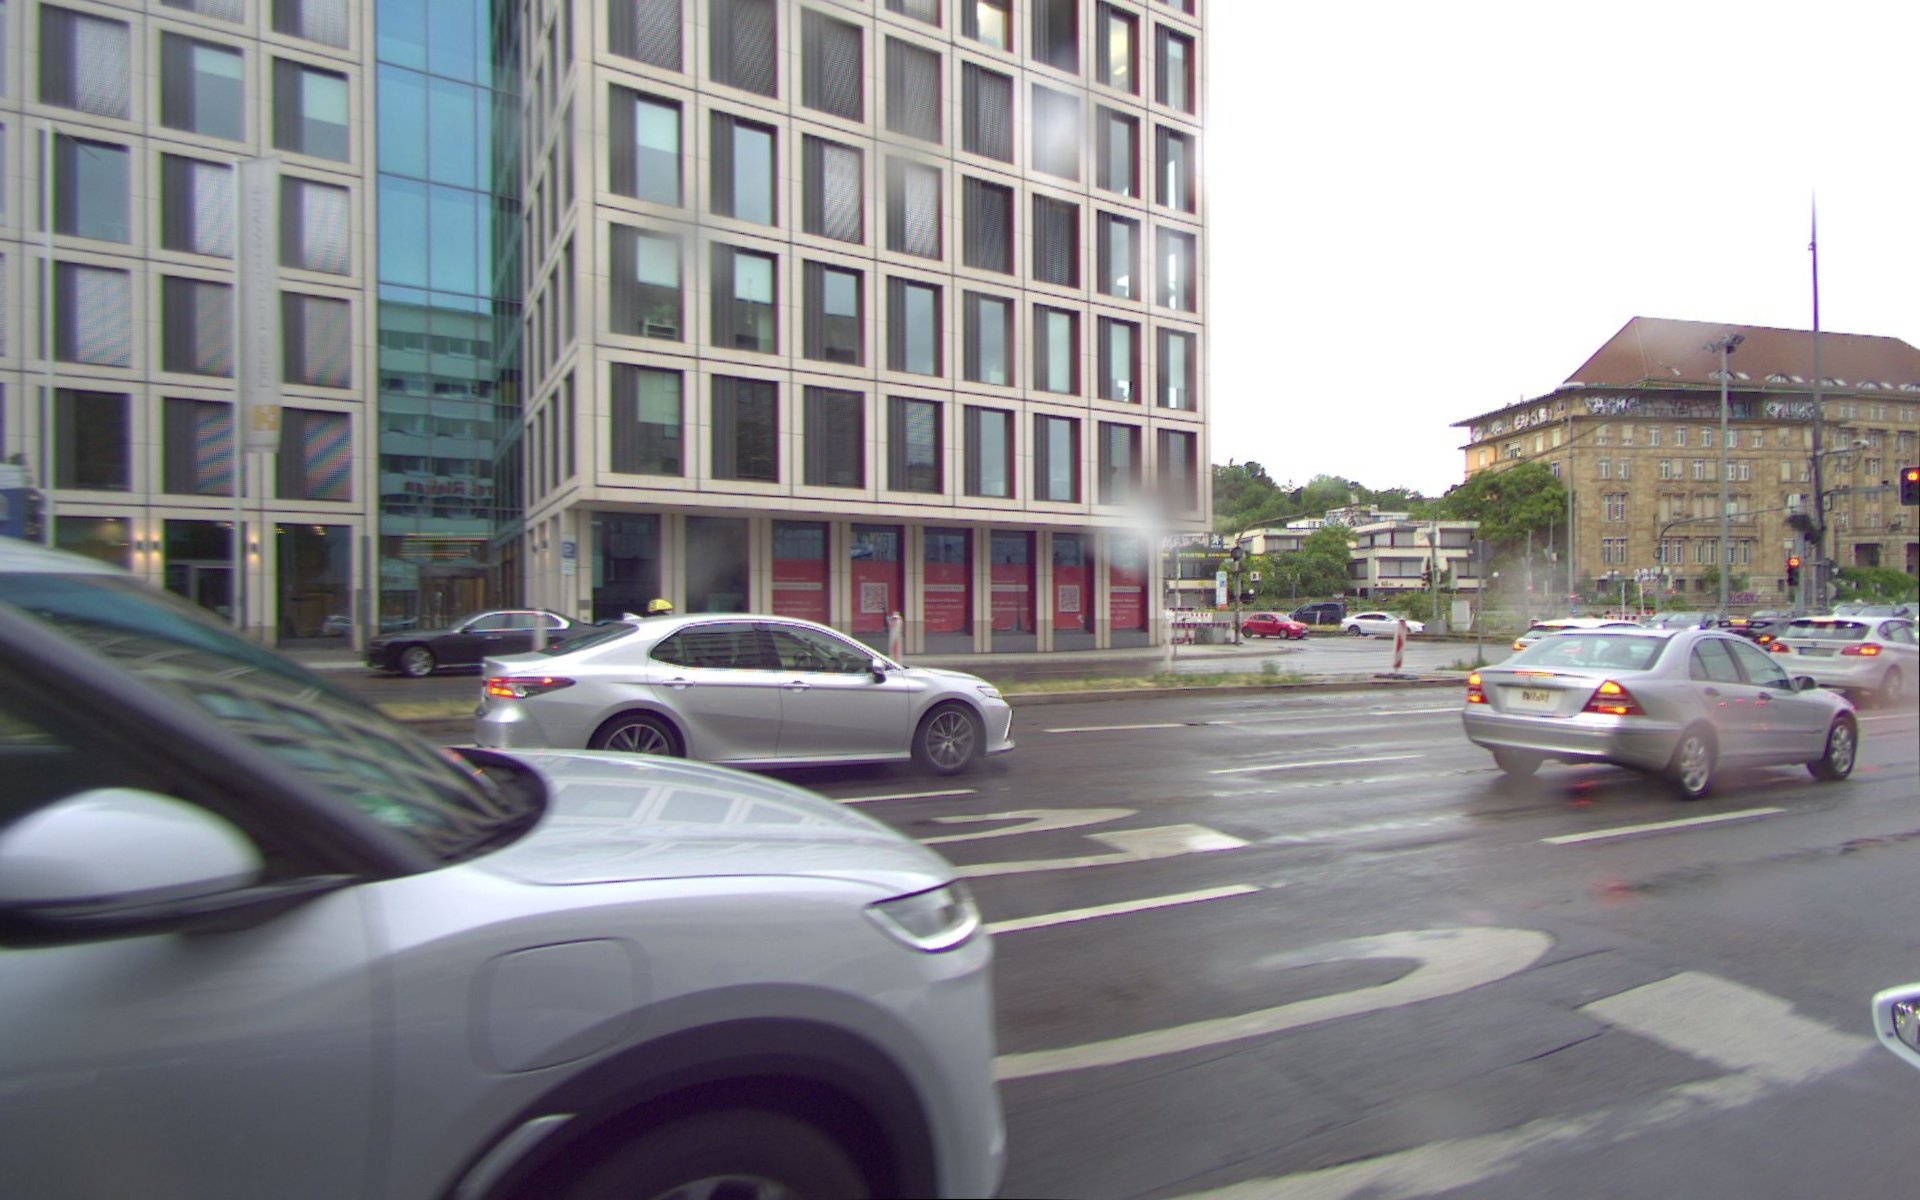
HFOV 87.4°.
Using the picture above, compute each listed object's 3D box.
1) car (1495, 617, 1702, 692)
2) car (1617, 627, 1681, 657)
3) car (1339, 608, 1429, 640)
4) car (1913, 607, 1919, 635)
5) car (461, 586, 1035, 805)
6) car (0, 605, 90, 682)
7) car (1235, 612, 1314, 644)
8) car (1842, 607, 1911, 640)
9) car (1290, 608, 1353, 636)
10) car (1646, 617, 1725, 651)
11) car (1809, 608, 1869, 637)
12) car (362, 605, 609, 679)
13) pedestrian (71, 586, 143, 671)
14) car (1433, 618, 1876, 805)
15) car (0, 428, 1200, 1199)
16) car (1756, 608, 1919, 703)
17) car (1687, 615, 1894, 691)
[{"bbox_3d":[13.331,1.119,20.959,3.938,1.391,1.778,2,0,-25],"label":"car"},{"bbox_3d":[36.835,2.215,53.697,3.652,1.539,1.686,1,-2,-36],"label":"car"},{"bbox_3d":[24.178,1.360,57.383,4.332,1.684,1.989,1,0,42],"label":"car"},{"bbox_3d":[56.886,1.260,58.174,3.959,1.595,1.687,2,0,-35],"label":"car"},{"bbox_3d":[-1.793,0.730,9.084,4.746,1.541,1.822,2,0,-31],"label":"car"},{"bbox_3d":[-19.137,0.811,18.920,3.913,1.442,1.688,1,-2,-33],"label":"car"},{"bbox_3d":[17.516,1.550,56.037,1.660,1.617,3.957,2,0,-37],"label":"car"},{"bbox_3d":[48.013,1.234,52.582,4.033,1.595,1.790,2,0,-35],"label":"car"},{"bbox_3d":[28.109,1.709,78.110,4.161,2.040,1.991,1,0,40],"label":"car"},{"bbox_3d":[33.687,1.573,46.613,3.832,1.539,1.688,1,-2,-33],"label":"car"},{"bbox_3d":[51.180,1.314,58.494,3.959,1.595,1.687,2,0,-35],"label":"car"},{"bbox_3d":[-11.156,0.977,23.799,5.127,1.590,1.688,1,-2,-33],"label":"car"},{"bbox_3d":[-17.919,0.599,21.126,0.952,1.757,0.612,2,0,-19],"label":"pedestrian"},{"bbox_3d":[6.744,0.951,9.668,4.329,1.422,1.725,2,0,-28],"label":"car"},{"bbox_3d":[-1.728,0.638,1.740,4.125,1.683,1.798,2,0,-33],"label":"car"},{"bbox_3d":[17.389,1.036,19.324,3.948,1.637,1.727,2,0,-27],"label":"car"},{"bbox_3d":[19.337,1.231,23.413,4.006,1.621,1.783,2,0,-17],"label":"car"}]
